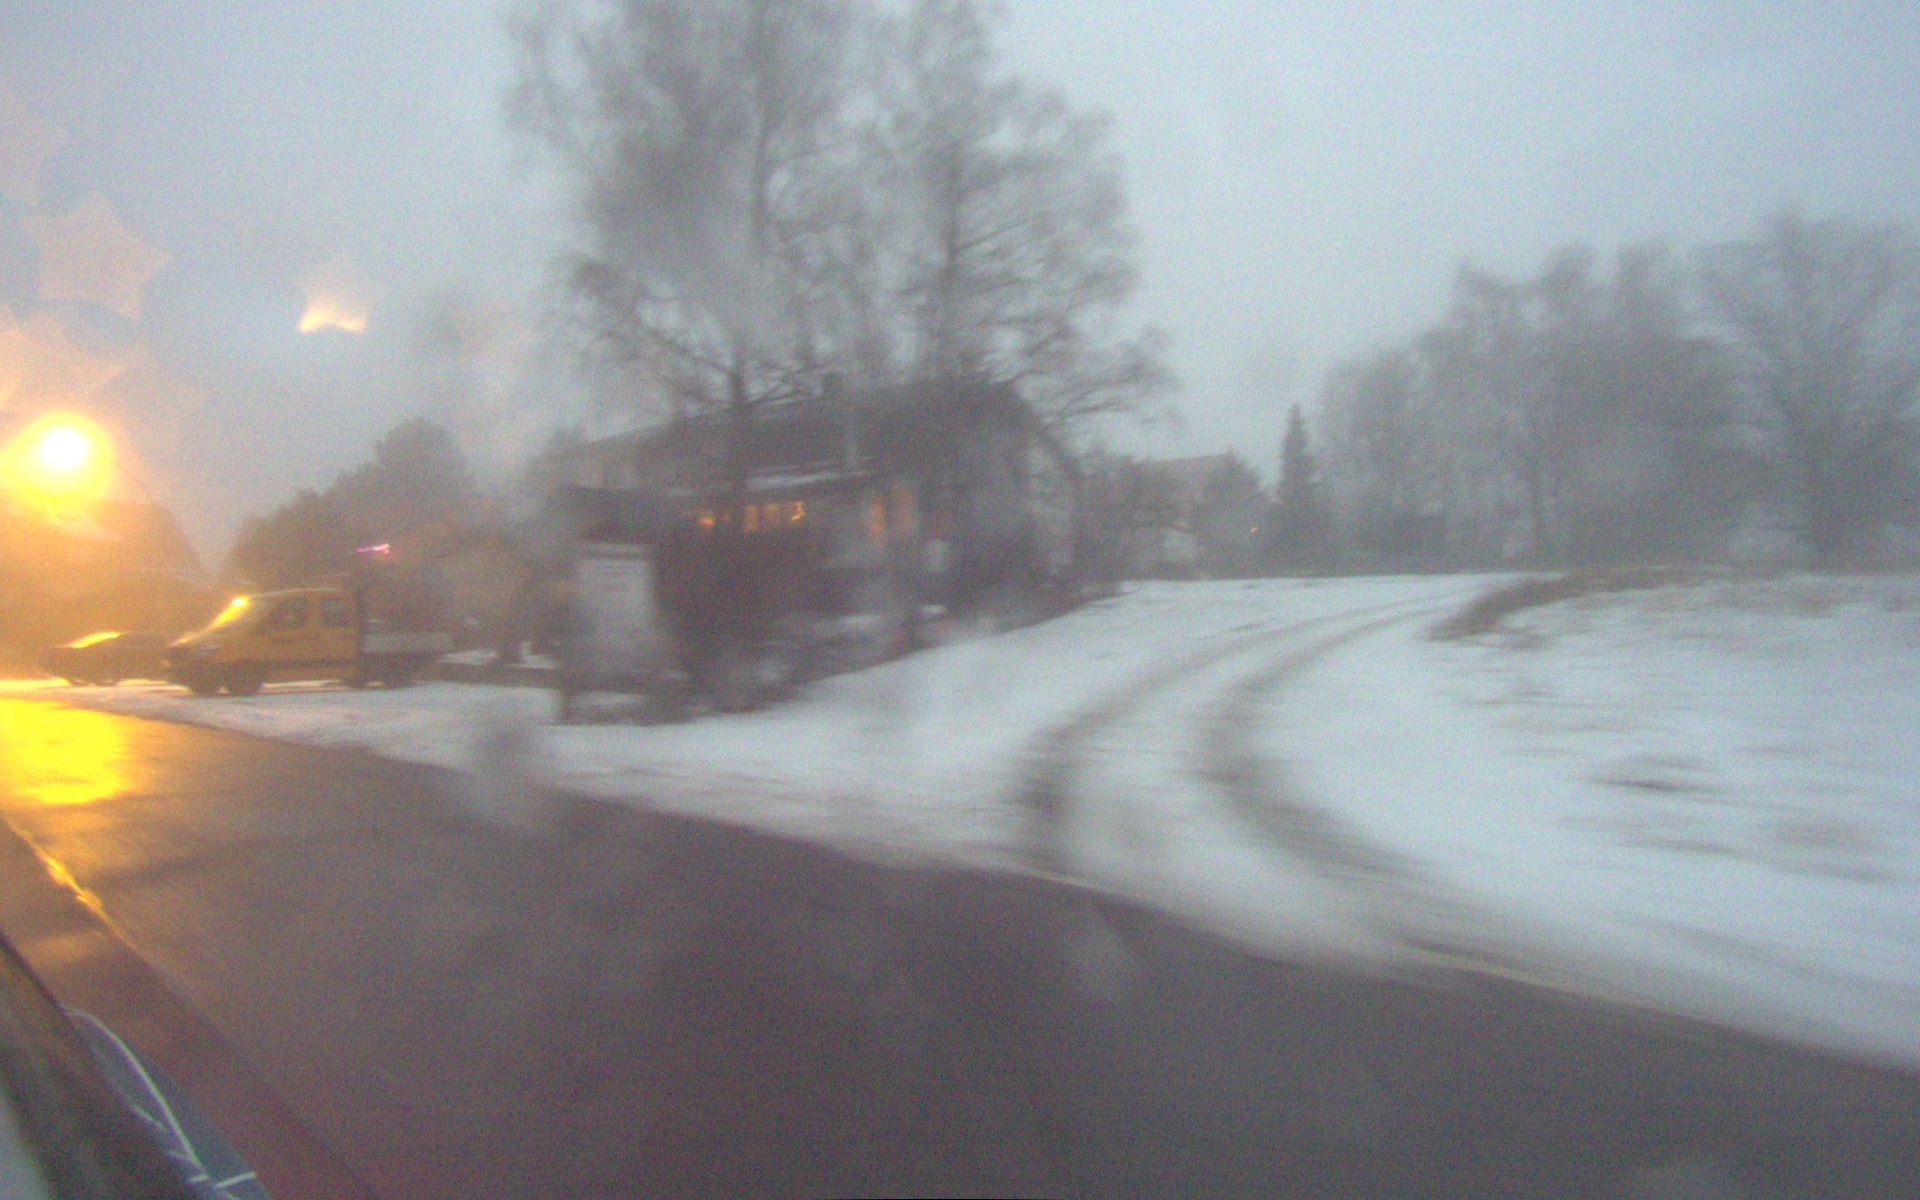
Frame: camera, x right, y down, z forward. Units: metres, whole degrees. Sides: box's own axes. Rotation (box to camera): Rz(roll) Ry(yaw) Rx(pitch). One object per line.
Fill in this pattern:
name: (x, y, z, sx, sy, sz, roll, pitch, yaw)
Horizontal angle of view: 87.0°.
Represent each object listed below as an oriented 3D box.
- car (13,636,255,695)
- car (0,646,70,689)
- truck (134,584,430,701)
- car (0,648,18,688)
car: (-23.080, 1.829, 28.508, 2.114, 1.496, 4.854, -3, -4, 29)
car: (-34.253, 2.403, 35.723, 1.928, 1.483, 3.833, -3, -4, 25)
truck: (-15.077, 1.008, 22.907, 1.991, 2.320, 5.226, -3, -4, 28)
car: (-39.306, 2.623, 38.565, 2.096, 1.578, 4.509, -3, -4, 21)
